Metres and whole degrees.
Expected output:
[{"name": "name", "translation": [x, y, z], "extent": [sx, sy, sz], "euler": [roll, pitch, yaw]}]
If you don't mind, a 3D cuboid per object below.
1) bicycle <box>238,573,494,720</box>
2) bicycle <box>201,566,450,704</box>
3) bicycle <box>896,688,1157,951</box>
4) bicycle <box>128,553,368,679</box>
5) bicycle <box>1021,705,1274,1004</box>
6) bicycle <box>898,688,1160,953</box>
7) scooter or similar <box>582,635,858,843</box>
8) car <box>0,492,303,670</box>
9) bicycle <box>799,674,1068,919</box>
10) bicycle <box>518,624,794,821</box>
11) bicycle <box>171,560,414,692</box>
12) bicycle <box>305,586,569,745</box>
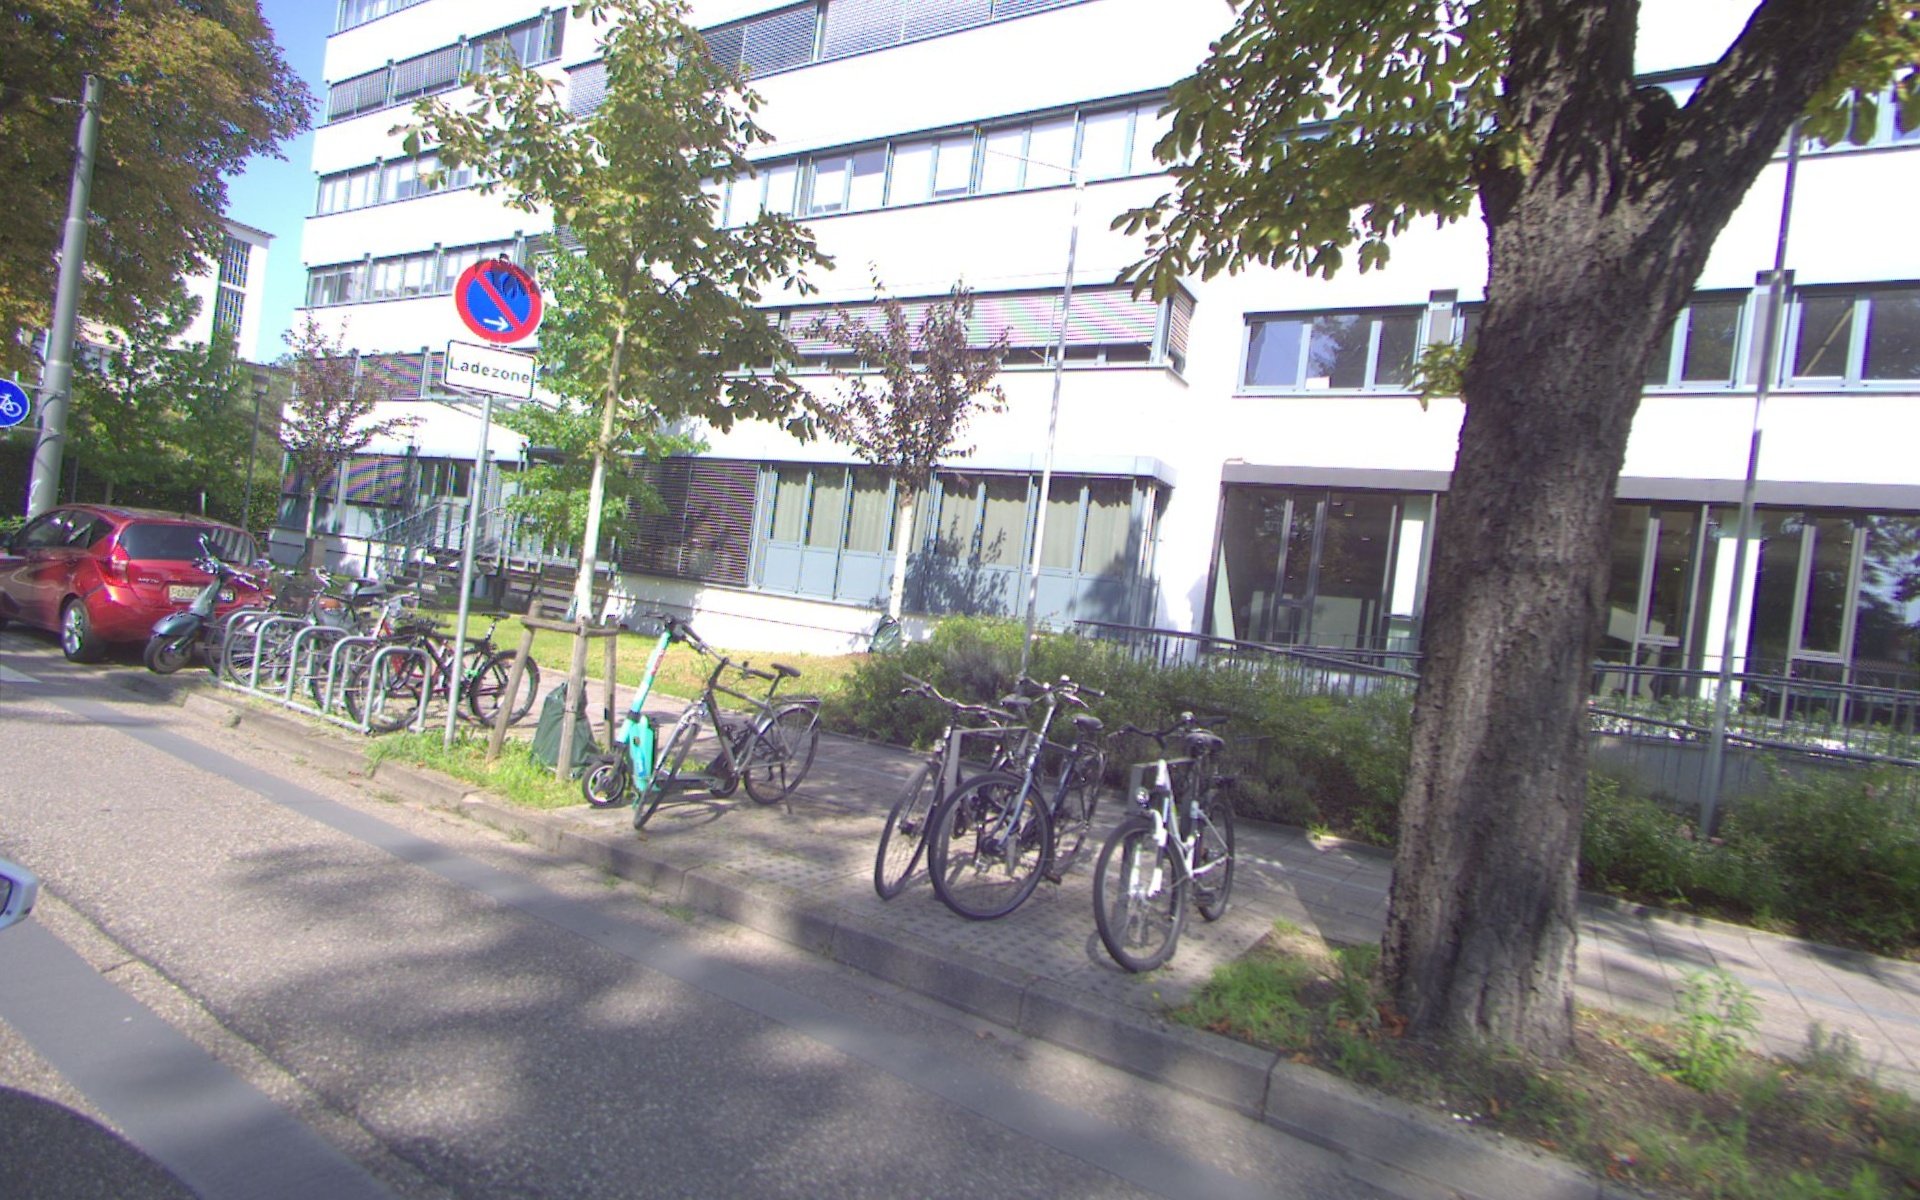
[{"name": "bicycle", "translation": [-5.009, 0.414, 8.614], "extent": [0.531, 1.085, 1.773], "euler": [7, 0, 31]}, {"name": "bicycle", "translation": [-5.654, 0.340, 9.081], "extent": [0.531, 1.085, 1.773], "euler": [7, 0, 31]}, {"name": "bicycle", "translation": [0.433, 1.052, 5.352], "extent": [0.531, 1.085, 1.773], "euler": [7, 0, 31]}, {"name": "bicycle", "translation": [-6.871, 0.198, 9.808], "extent": [0.531, 1.085, 1.773], "euler": [7, 0, 31]}, {"name": "bicycle", "translation": [0.998, 1.116, 4.927], "extent": [0.531, 1.085, 1.773], "euler": [7, 0, 31]}, {"name": "bicycle", "translation": [0.446, 1.053, 5.331], "extent": [0.531, 1.085, 1.773], "euler": [7, 0, 31]}, {"name": "scooter or similar", "translation": [-1.450, 0.829, 6.420], "extent": [0.531, 1.085, 1.773], "euler": [7, 0, 31]}, {"name": "car", "translation": [-9.226, -0.275, 10.973], "extent": [4.204, 1.480, 1.758], "euler": [7, 0, 32]}, {"name": "bicycle", "translation": [-0.068, 0.992, 5.617], "extent": [0.531, 1.085, 1.773], "euler": [7, 0, 31]}, {"name": "bicycle", "translation": [-1.946, 0.771, 6.710], "extent": [0.531, 1.085, 1.773], "euler": [7, 0, 31]}, {"name": "bicycle", "translation": [-6.199, 0.278, 9.456], "extent": [0.531, 1.085, 1.773], "euler": [7, 0, 31]}, {"name": "bicycle", "translation": [-4.097, 0.520, 8.038], "extent": [0.531, 1.085, 1.773], "euler": [7, 0, 31]}]
